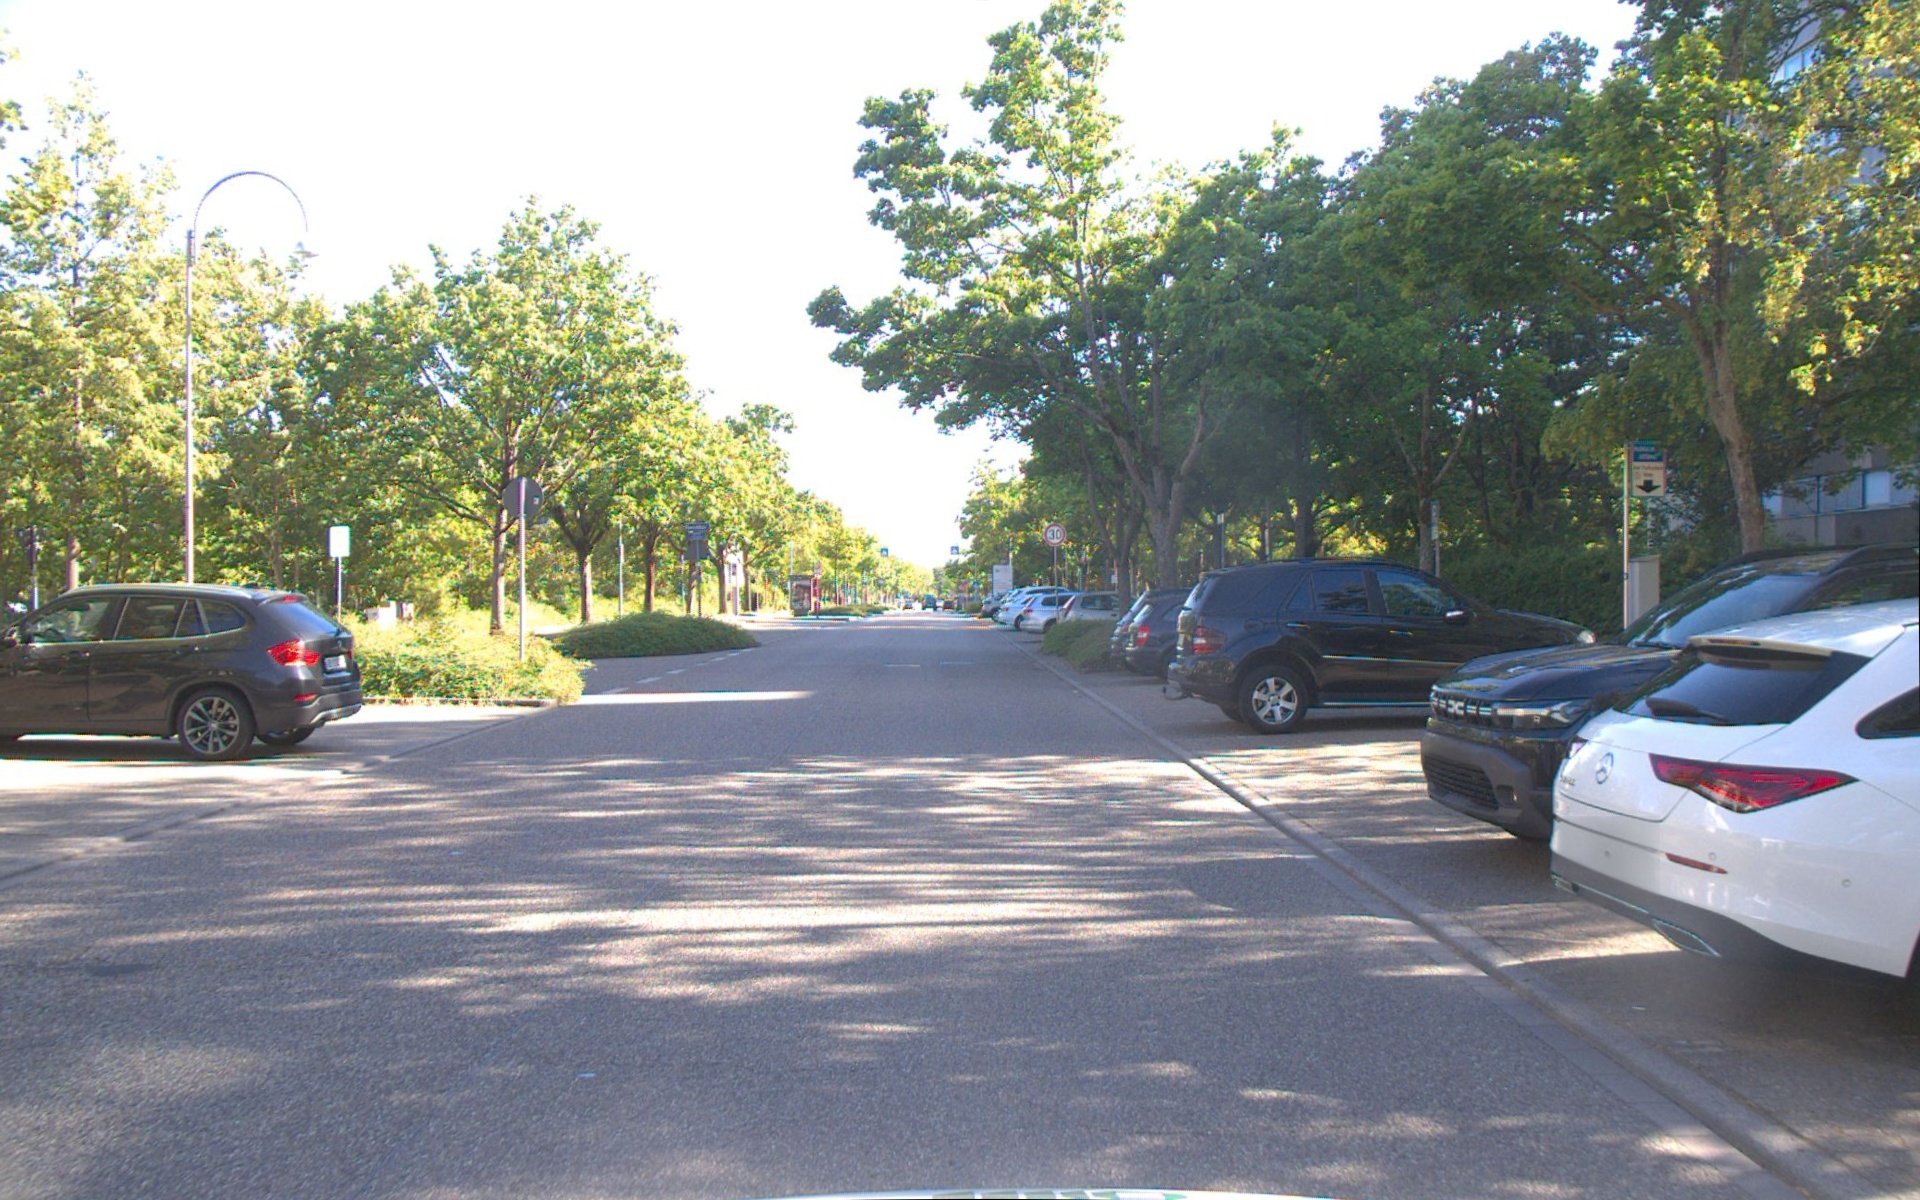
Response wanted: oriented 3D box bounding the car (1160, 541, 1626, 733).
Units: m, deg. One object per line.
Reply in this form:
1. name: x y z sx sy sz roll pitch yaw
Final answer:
1. car: 4.570 0.375 17.986 4.493 1.810 2.000 -2 0 -1

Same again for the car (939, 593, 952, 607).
1. car: -2.096 -0.040 241.587 1.953 2.049 3.999 0 0 -1

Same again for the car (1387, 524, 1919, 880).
1. car: 4.589 0.466 8.968 4.036 1.646 1.732 -2 -1 -3

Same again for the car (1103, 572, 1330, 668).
1. car: 4.604 0.346 29.984 3.734 1.525 1.700 -3 0 -4

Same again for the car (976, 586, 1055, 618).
1. car: 2.953 0.096 88.677 4.080 1.453 2.000 -3 0 -1

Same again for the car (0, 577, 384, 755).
1. car: -7.735 0.570 15.396 4.106 1.546 1.772 0 0 0

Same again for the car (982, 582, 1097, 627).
1. car: 3.073 0.165 64.312 4.256 1.515 1.737 -3 0 -3

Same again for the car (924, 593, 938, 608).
1. car: -4.117 0.043 233.889 1.953 2.049 4.000 0 0 0

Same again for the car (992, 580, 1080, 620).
1. car: 3.276 -0.016 71.859 3.615 1.549 1.650 -3 1 -3

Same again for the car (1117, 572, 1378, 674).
1. car: 4.656 0.354 27.203 3.906 1.411 1.822 -3 0 -1

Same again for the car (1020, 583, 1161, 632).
1. car: 3.937 0.217 50.213 4.184 1.453 1.828 0 0 4

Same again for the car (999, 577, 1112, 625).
1. car: 3.847 0.018 67.027 4.347 1.676 1.815 -3 1 -3

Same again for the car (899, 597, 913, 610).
1. car: -7.504 0.495 230.850 1.791 1.806 3.739 0 0 0

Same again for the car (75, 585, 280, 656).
1. car: -18.370 0.464 38.929 3.993 1.476 1.625 -2 0 0

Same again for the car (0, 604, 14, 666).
1. car: -25.258 0.897 39.720 3.973 1.497 1.830 -1 0 -1

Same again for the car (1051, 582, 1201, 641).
1. car: 4.546 0.301 45.632 3.906 1.476 1.717 -2 0 -1

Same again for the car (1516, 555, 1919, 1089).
1. car: 4.463 0.668 5.889 4.353 1.572 1.816 0 0 -3
